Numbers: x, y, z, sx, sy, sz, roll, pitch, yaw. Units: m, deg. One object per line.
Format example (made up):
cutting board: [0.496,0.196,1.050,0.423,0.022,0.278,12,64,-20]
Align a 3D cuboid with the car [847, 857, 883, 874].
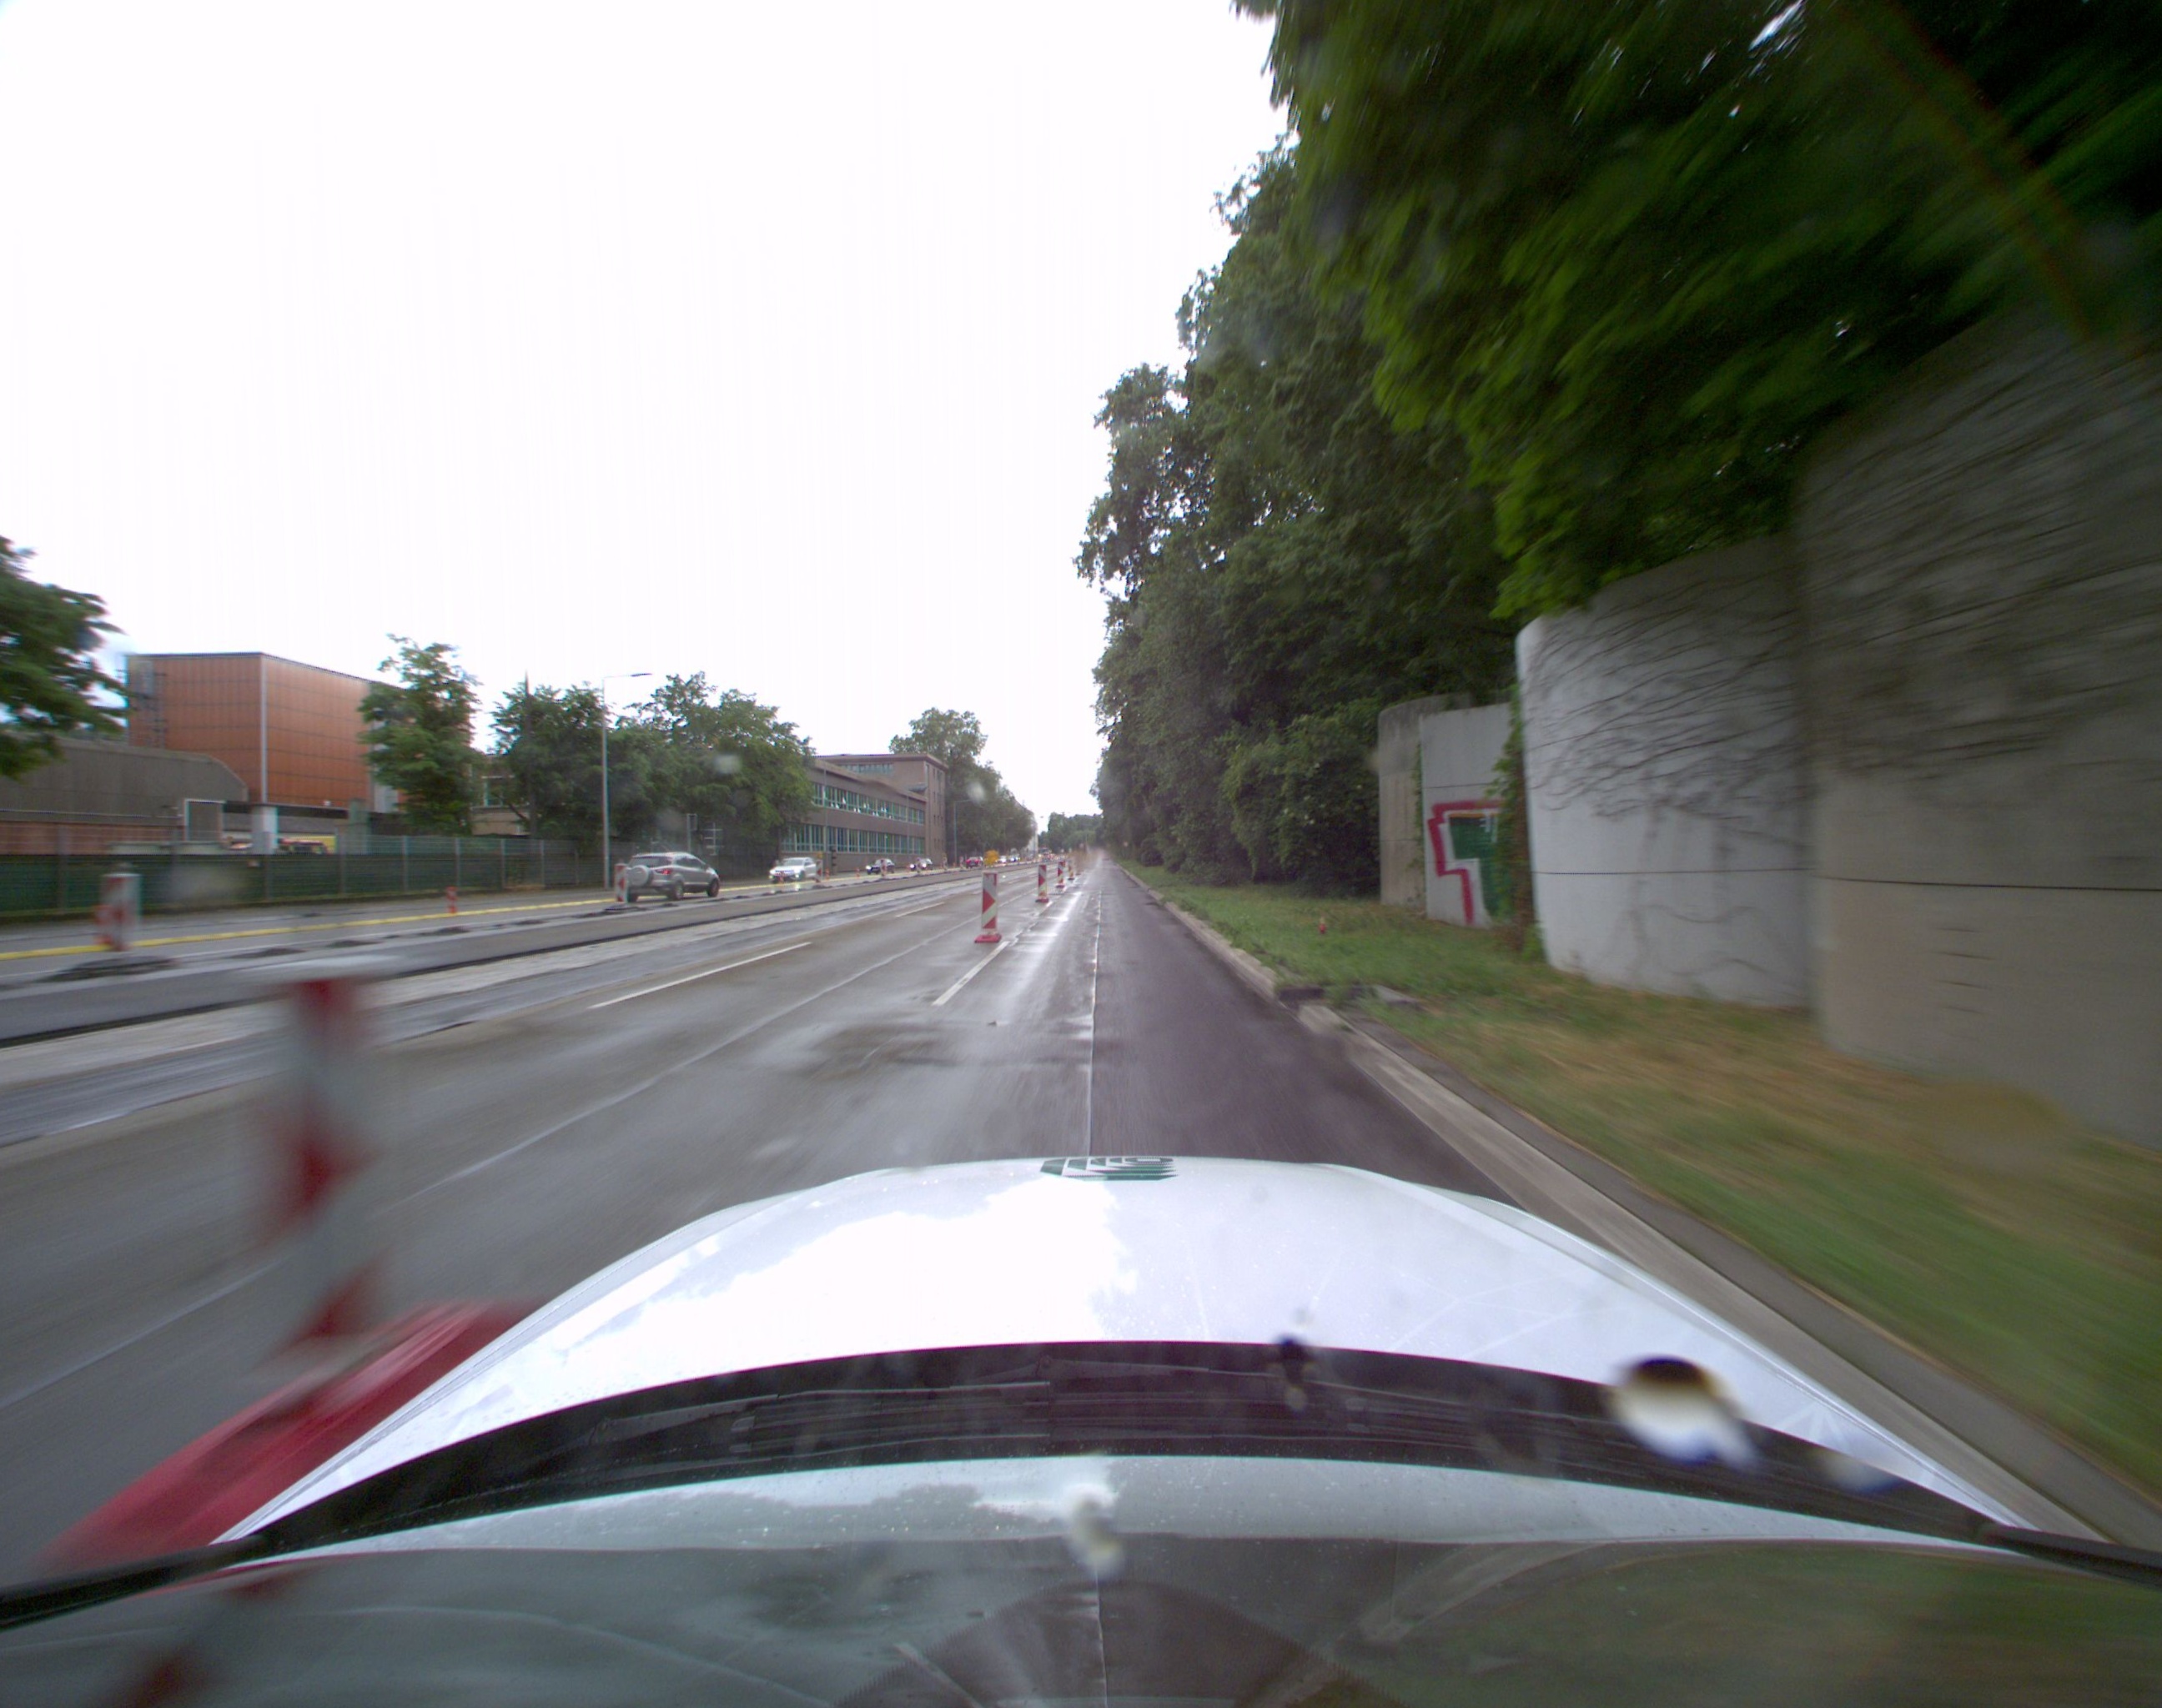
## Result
car: [-19.357,1.018,73.184,1.987,1.429,4.265,0,0,0]

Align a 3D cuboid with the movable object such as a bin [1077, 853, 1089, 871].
movable object such as a bin: [0.370,1.459,147.917,1.986,3.367,5.984,0,-1,2]

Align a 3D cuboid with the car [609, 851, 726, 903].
car: [-14.038,0.751,27.931,1.848,1.648,4.001,0,-1,1]

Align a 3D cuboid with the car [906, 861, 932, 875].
car: [-18.380,1.586,92.745,2.040,1.454,4.762,0,-1,-1]

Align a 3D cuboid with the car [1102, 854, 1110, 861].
car: [6.136,0.842,201.180,1.986,1.673,4.001,0,-1,2]

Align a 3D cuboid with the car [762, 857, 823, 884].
car: [-17.062,0.949,48.416,1.986,1.513,4.267,0,0,2]

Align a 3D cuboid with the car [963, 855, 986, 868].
car: [-12.317,0.904,94.539,1.986,1.519,4.001,0,-1,1]

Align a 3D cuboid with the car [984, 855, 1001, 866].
car: [-14.080,1.036,129.612,1.980,1.768,4.678,0,-1,3]
